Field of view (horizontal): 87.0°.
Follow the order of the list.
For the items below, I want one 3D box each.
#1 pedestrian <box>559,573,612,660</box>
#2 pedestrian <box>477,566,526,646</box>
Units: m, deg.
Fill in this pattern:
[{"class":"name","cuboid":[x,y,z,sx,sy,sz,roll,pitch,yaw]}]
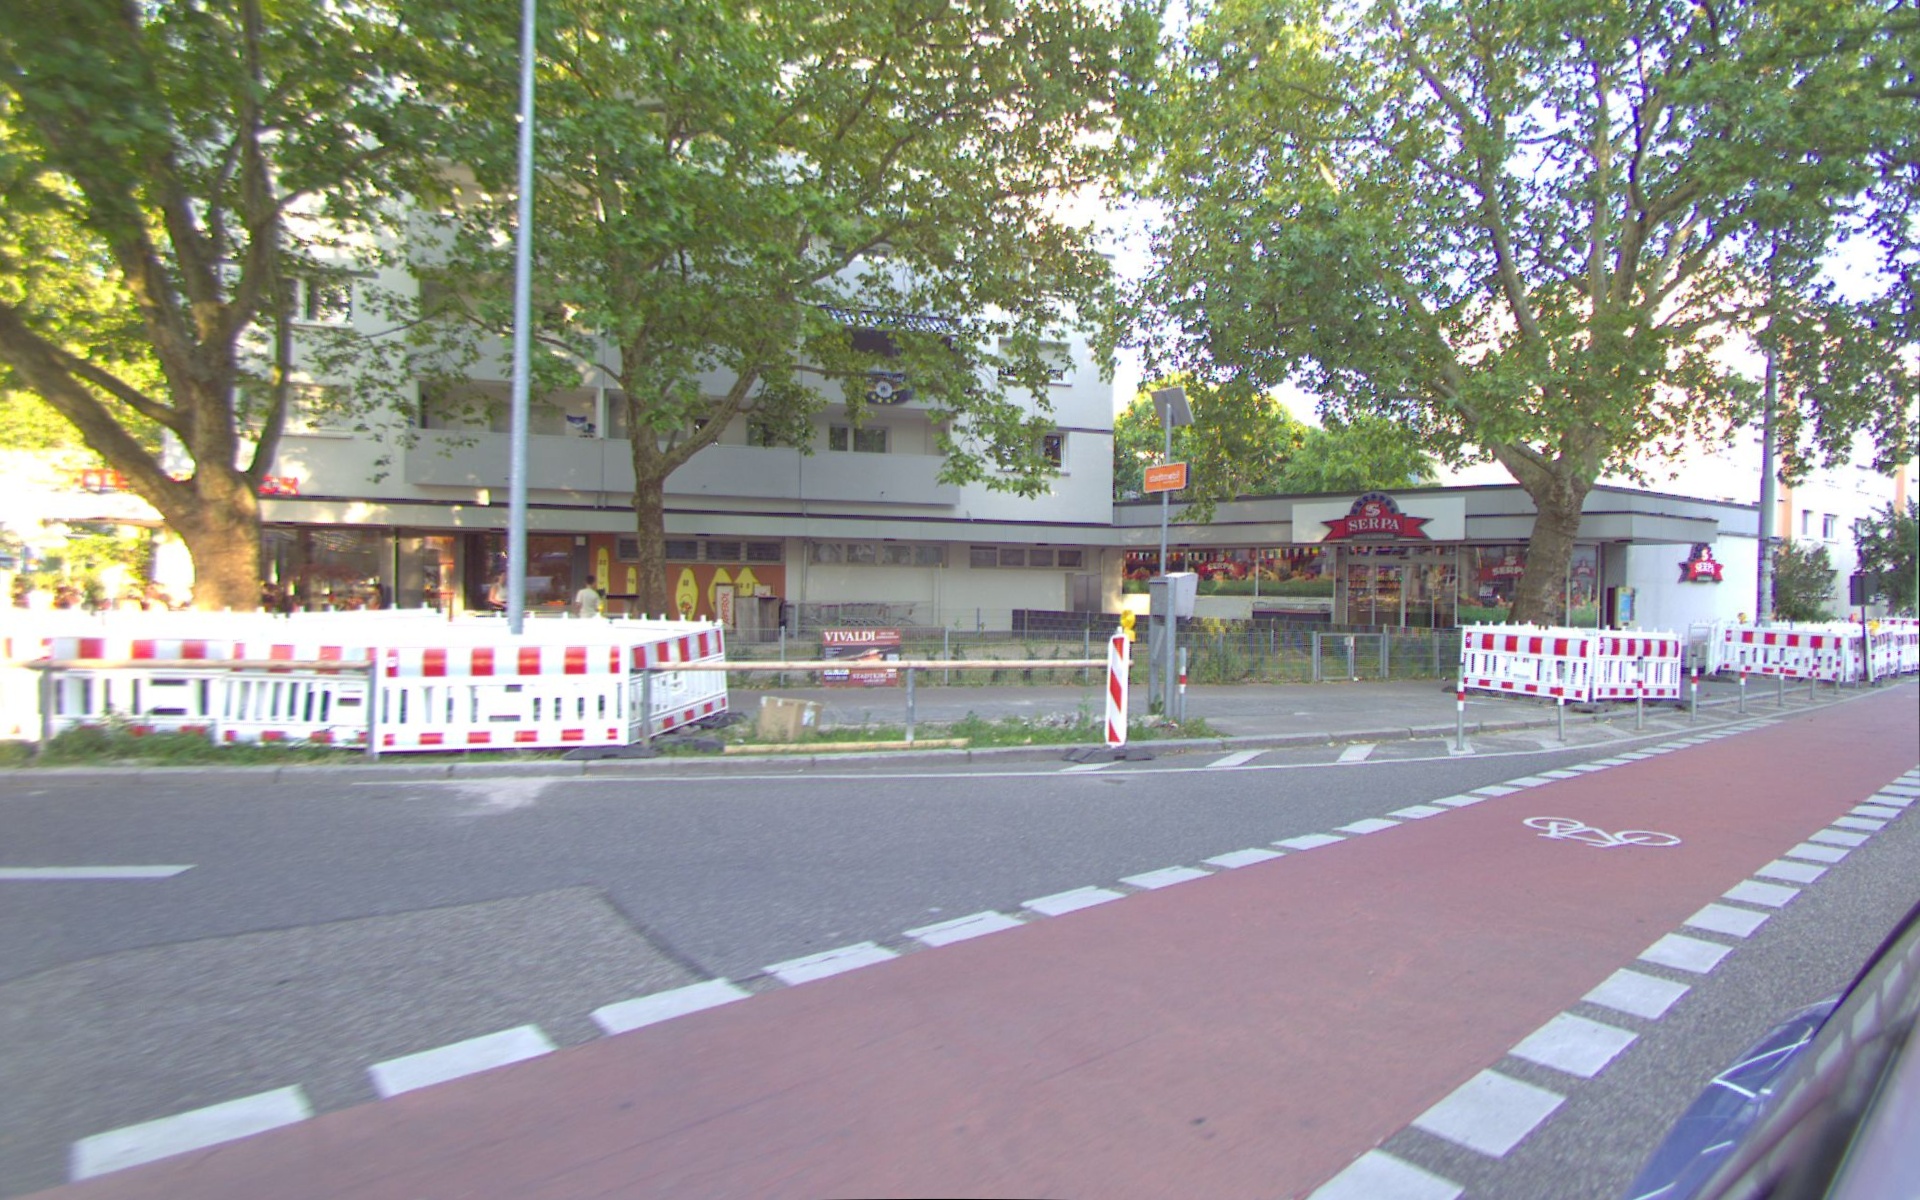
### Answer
[{"class":"pedestrian","cuboid":[-7.076,0.299,19.141,0.639,1.608,0.735,0,0,43]},{"class":"pedestrian","cuboid":[-9.421,0.111,20.797,0.639,1.608,0.735,0,0,43]}]
